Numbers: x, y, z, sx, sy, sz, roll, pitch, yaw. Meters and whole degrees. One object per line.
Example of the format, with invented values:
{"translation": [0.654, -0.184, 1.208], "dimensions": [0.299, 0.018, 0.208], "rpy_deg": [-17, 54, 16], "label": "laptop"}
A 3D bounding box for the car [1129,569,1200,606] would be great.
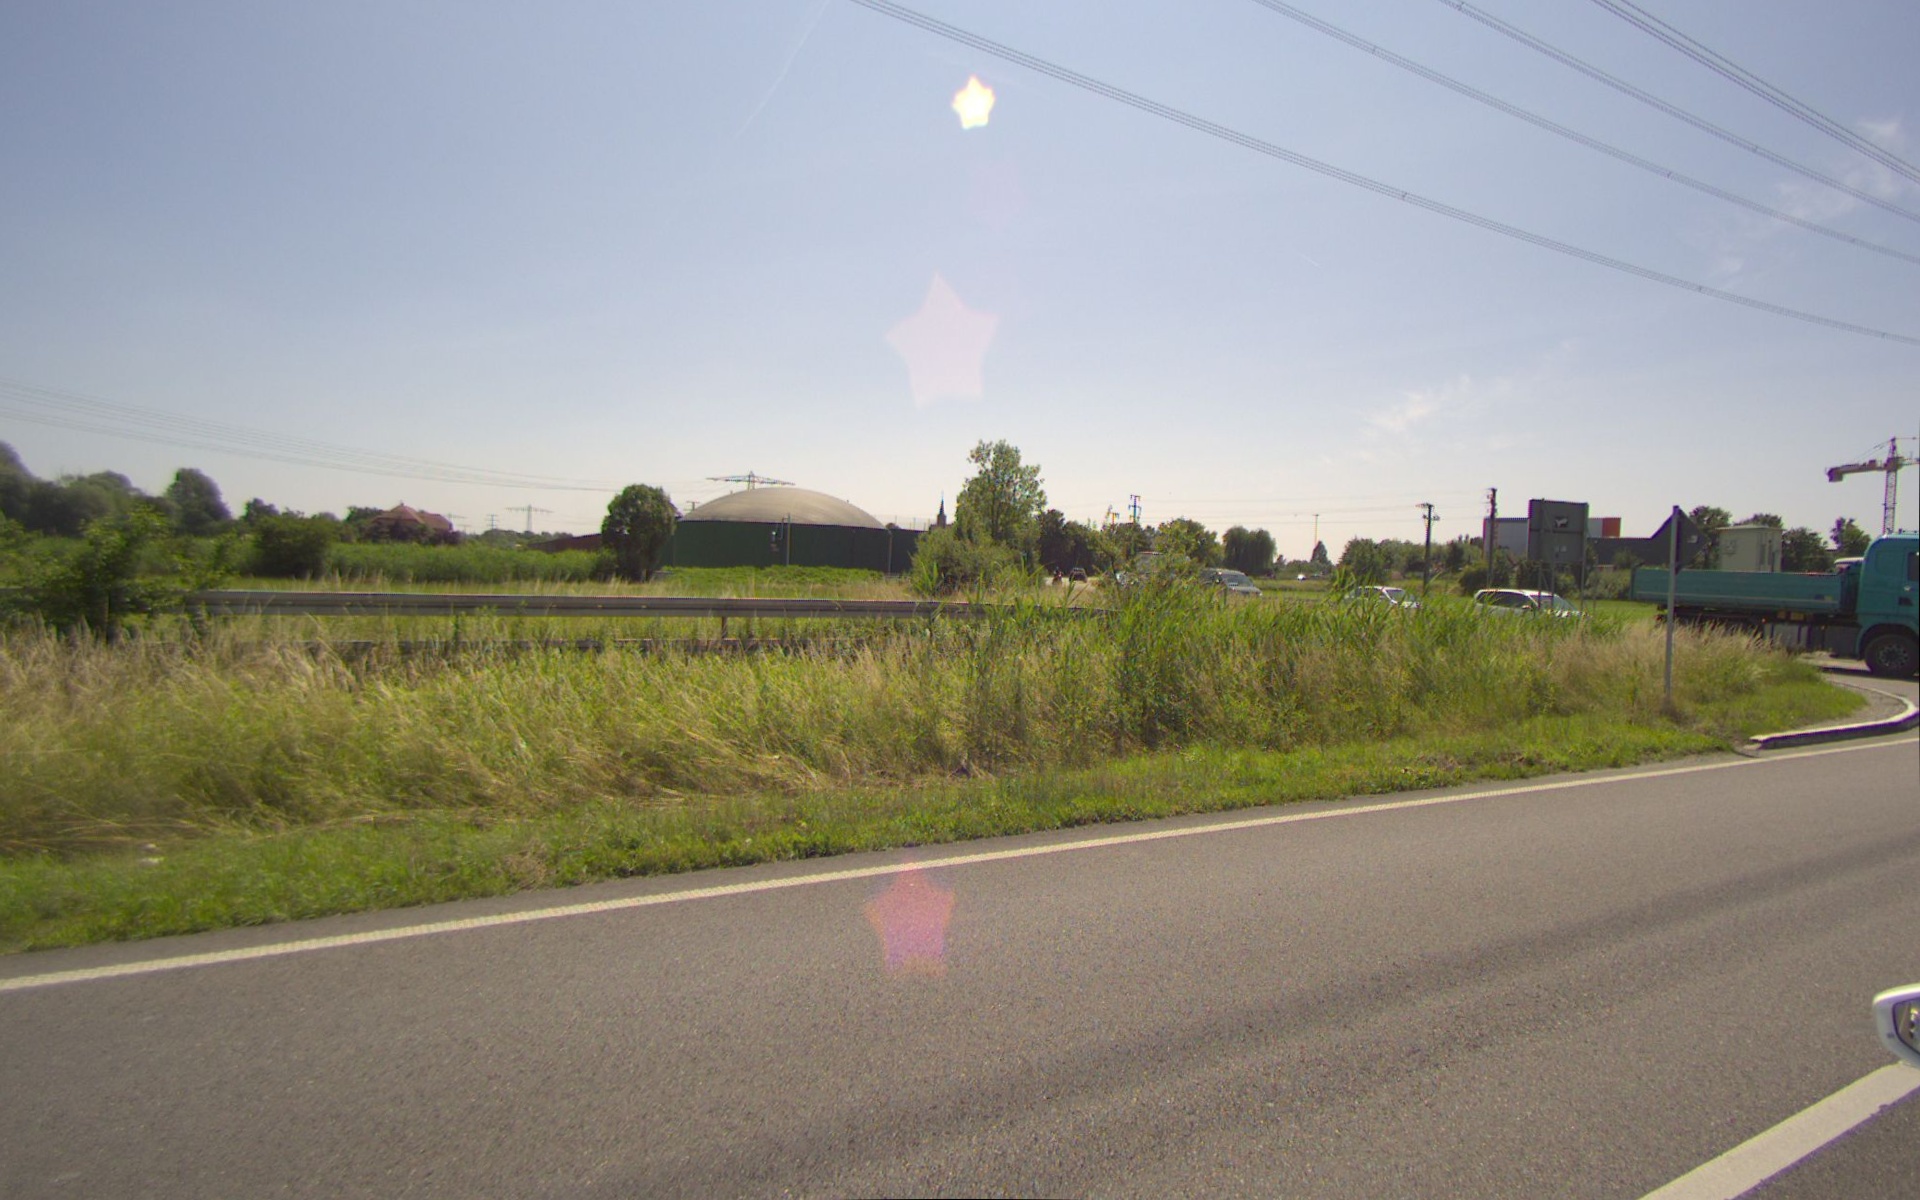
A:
{"translation": [11.248, -0.748, 55.576], "dimensions": [1.886, 1.874, 4.464], "rpy_deg": [1, 2, -18], "label": "car"}

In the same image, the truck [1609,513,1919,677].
{"translation": [21.976, -0.251, 26.471], "dimensions": [2.466, 3.785, 7.874], "rpy_deg": [1, 3, -26], "label": "truck"}

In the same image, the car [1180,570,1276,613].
{"translation": [13.011, -0.470, 49.076], "dimensions": [2.057, 1.893, 4.928], "rpy_deg": [0, 2, -21], "label": "car"}

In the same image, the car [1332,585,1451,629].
{"translation": [16.596, 0.234, 38.849], "dimensions": [1.691, 1.490, 4.428], "rpy_deg": [1, 1, -18], "label": "car"}

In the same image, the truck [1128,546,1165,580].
{"translation": [28.265, -5.532, 151.588], "dimensions": [3.617, 4.708, 13.241], "rpy_deg": [2, 1, 18], "label": "truck"}

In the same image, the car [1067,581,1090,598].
{"translation": [13.088, -1.163, 110.911], "dimensions": [1.960, 1.701, 4.002], "rpy_deg": [1, 0, 15], "label": "car"}

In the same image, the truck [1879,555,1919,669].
{"translation": [29.573, 0.415, 25.702], "dimensions": [2.775, 3.332, 9.695], "rpy_deg": [1, 1, -3], "label": "truck"}

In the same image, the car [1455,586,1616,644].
{"translation": [18.784, 0.445, 33.047], "dimensions": [1.935, 1.634, 4.541], "rpy_deg": [1, 2, -15], "label": "car"}
